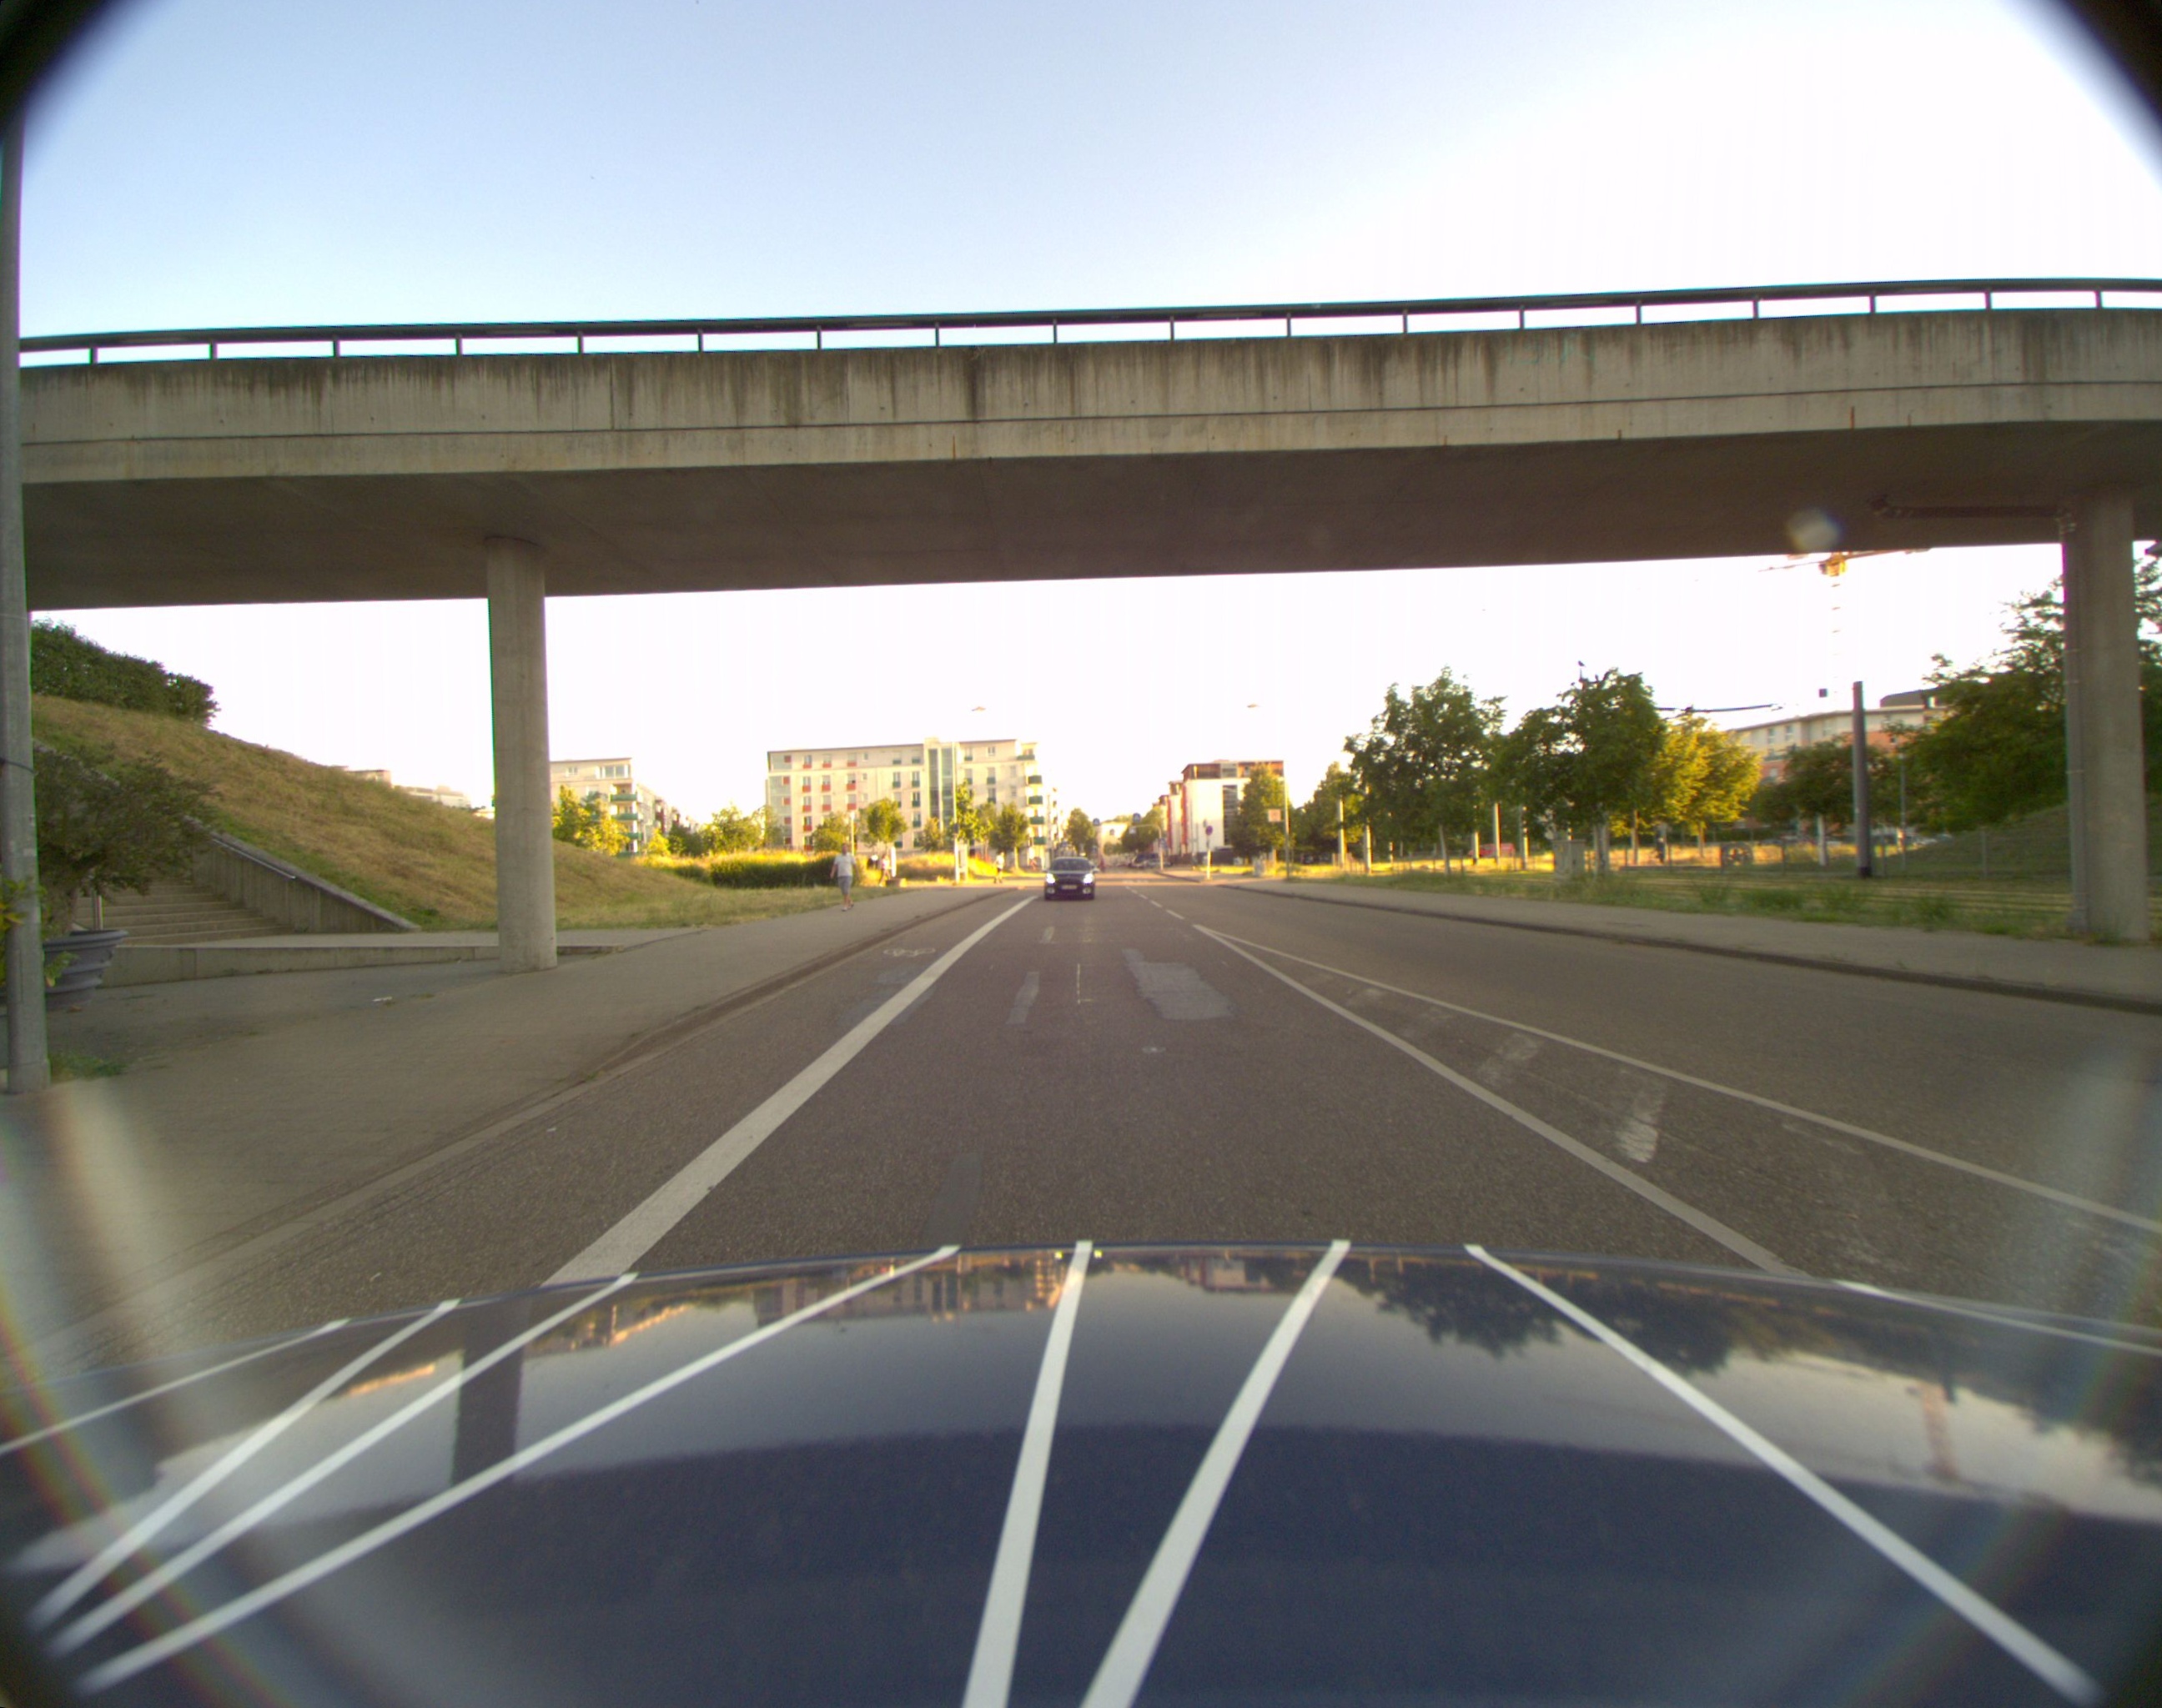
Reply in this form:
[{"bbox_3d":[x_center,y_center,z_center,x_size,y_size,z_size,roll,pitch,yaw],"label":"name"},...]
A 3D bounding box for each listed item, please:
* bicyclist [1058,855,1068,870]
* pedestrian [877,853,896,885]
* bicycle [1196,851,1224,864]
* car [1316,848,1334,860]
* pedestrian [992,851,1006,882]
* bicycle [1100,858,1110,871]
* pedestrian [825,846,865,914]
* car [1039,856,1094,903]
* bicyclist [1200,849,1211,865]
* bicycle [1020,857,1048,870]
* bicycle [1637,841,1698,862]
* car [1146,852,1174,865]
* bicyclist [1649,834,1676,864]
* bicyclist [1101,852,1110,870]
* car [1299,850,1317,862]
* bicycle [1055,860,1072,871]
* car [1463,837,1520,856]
[{"bbox_3d":[-1.937,0.918,81.851,0.933,1.585,1.067,-2,0,-11],"label":"bicyclist"},{"bbox_3d":[-9.926,0.759,38.779,0.737,1.620,0.859,0,0,2],"label":"pedestrian"},{"bbox_3d":[15.353,0.411,90.529,3.324,1.483,0.886,-2,0,-22],"label":"bicycle"},{"bbox_3d":[31.029,-0.009,96.633,1.942,1.521,4.004,-2,0,14],"label":"car"},{"bbox_3d":[-4.533,0.671,42.052,0.737,1.714,0.532,0,0,1],"label":"pedestrian"},{"bbox_3d":[2.299,1.010,72.480,0.662,1.217,2.439,-2,0,-3],"label":"bicycle"},{"bbox_3d":[-6.084,0.650,19.653,0.737,1.714,0.906,0,0,1],"label":"pedestrian"},{"bbox_3d":[-0.445,0.834,26.714,1.739,1.455,4.000,-2,0,1],"label":"car"},{"bbox_3d":[14.814,0.336,90.397,1.036,1.865,0.882,-2,1,-25],"label":"bicyclist"},{"bbox_3d":[-6.070,1.186,97.483,3.541,1.560,1.018,-2,0,-3],"label":"bicycle"},{"bbox_3d":[31.973,-0.133,41.431,2.842,1.002,0.655,-2,0,-3],"label":"bicycle"},{"bbox_3d":[11.827,0.643,114.034,3.996,1.718,2.000,-2,0,2],"label":"car"},{"bbox_3d":[31.746,-0.260,41.477,0.909,1.622,0.717,-2,0,-4],"label":"bicyclist"},{"bbox_3d":[2.344,0.644,72.412,0.697,1.630,0.851,-2,0,-1],"label":"bicyclist"},{"bbox_3d":[29.012,0.245,97.189,1.942,1.521,4.004,-2,0,14],"label":"car"},{"bbox_3d":[-1.921,1.237,81.674,0.901,1.142,3.494,-2,0,-17],"label":"bicycle"},{"bbox_3d":[48.300,-0.908,89.432,5.517,2.002,2.002,-2,0,11],"label":"car"}]
